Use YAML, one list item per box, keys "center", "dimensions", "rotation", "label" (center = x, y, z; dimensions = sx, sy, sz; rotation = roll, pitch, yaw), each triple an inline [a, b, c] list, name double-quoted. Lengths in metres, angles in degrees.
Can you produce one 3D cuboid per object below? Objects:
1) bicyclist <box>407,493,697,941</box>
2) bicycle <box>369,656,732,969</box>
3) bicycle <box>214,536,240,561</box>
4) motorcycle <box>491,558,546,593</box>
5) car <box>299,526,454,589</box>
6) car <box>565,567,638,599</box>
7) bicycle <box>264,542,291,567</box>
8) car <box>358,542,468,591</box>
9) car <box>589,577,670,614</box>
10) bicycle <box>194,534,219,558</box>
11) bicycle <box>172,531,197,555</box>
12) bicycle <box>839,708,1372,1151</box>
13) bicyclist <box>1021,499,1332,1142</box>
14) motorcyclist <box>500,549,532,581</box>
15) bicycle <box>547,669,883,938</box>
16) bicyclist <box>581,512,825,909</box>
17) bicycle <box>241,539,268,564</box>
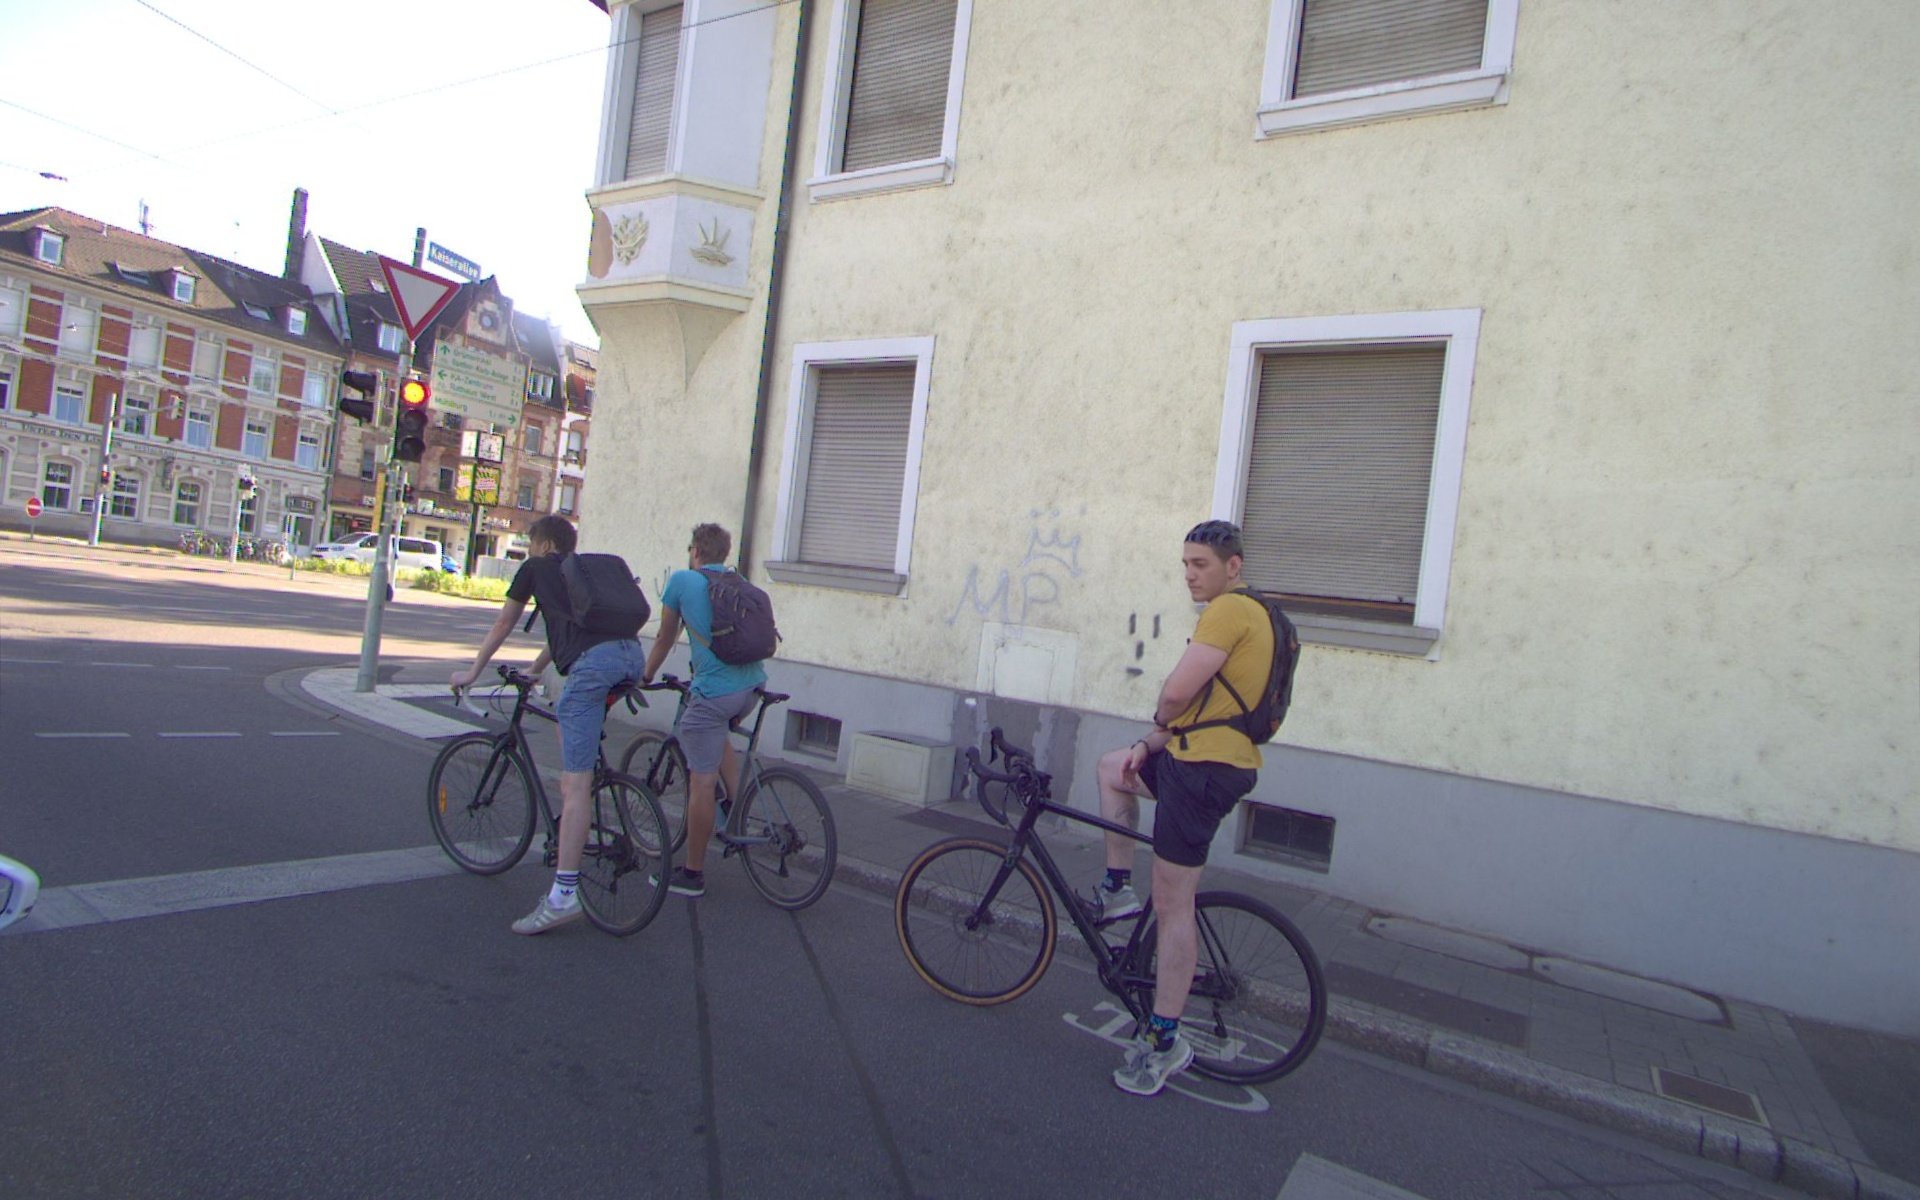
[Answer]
- center: [-1.843, 0.472, 4.552]
  dimensions: [0.920, 1.787, 0.590]
  rotation: [6, -1, 32]
  label: "bicyclist"
- center: [-1.897, 0.868, 4.552]
  dimensions: [1.753, 1.003, 0.482]
  rotation: [6, -1, 32]
  label: "bicycle"
- center: [-34.260, -2.416, 47.019]
  dimensions: [0.762, 0.995, 2.186]
  rotation: [8, -2, -39]
  label: "bicycle"
- center: [-20.794, -1.134, 47.456]
  dimensions: [0.785, 1.349, 2.135]
  rotation: [6, -2, 39]
  label: "motorcycle"
- center: [-24.411, -1.738, 42.334]
  dimensions: [1.966, 1.876, 5.210]
  rotation: [7, -1, 30]
  label: "car"
- center: [-23.164, -1.091, 65.115]
  dimensions: [1.842, 1.454, 3.985]
  rotation: [6, -2, 35]
  label: "car"
- center: [-33.009, -2.200, 48.608]
  dimensions: [0.789, 1.027, 2.186]
  rotation: [8, -2, -39]
  label: "bicycle"
- center: [-25.436, -1.546, 46.887]
  dimensions: [1.775, 1.641, 3.994]
  rotation: [6, -2, 33]
  label: "car"
- center: [-17.523, -0.208, 53.467]
  dimensions: [1.569, 1.443, 3.876]
  rotation: [7, -1, 32]
  label: "car"
- center: [-34.757, -2.506, 46.397]
  dimensions: [0.762, 0.979, 2.186]
  rotation: [8, -2, -39]
  label: "bicycle"
- center: [-35.359, -2.608, 45.872]
  dimensions: [0.762, 0.974, 2.186]
  rotation: [8, -2, -39]
  label: "bicycle"
- center: [0.547, 1.113, 3.827]
  dimensions: [1.709, 1.119, 0.783]
  rotation: [7, -1, 18]
  label: "bicycle"
- center: [0.814, 0.716, 3.691]
  dimensions: [0.763, 1.990, 0.783]
  rotation: [7, 0, 18]
  label: "bicyclist"
- center: [-20.877, -1.640, 47.284]
  dimensions: [0.778, 1.315, 1.014]
  rotation: [6, -2, 39]
  label: "motorcyclist"
- center: [-1.312, 0.974, 5.219]
  dimensions: [1.753, 0.995, 0.504]
  rotation: [6, -1, 32]
  label: "bicycle"
- center: [-1.352, 0.530, 5.279]
  dimensions: [0.960, 1.868, 0.504]
  rotation: [6, -1, 32]
  label: "bicyclist"
- center: [-33.623, -2.308, 47.929]
  dimensions: [0.762, 1.019, 2.196]
  rotation: [8, -2, -39]
  label: "bicycle"
